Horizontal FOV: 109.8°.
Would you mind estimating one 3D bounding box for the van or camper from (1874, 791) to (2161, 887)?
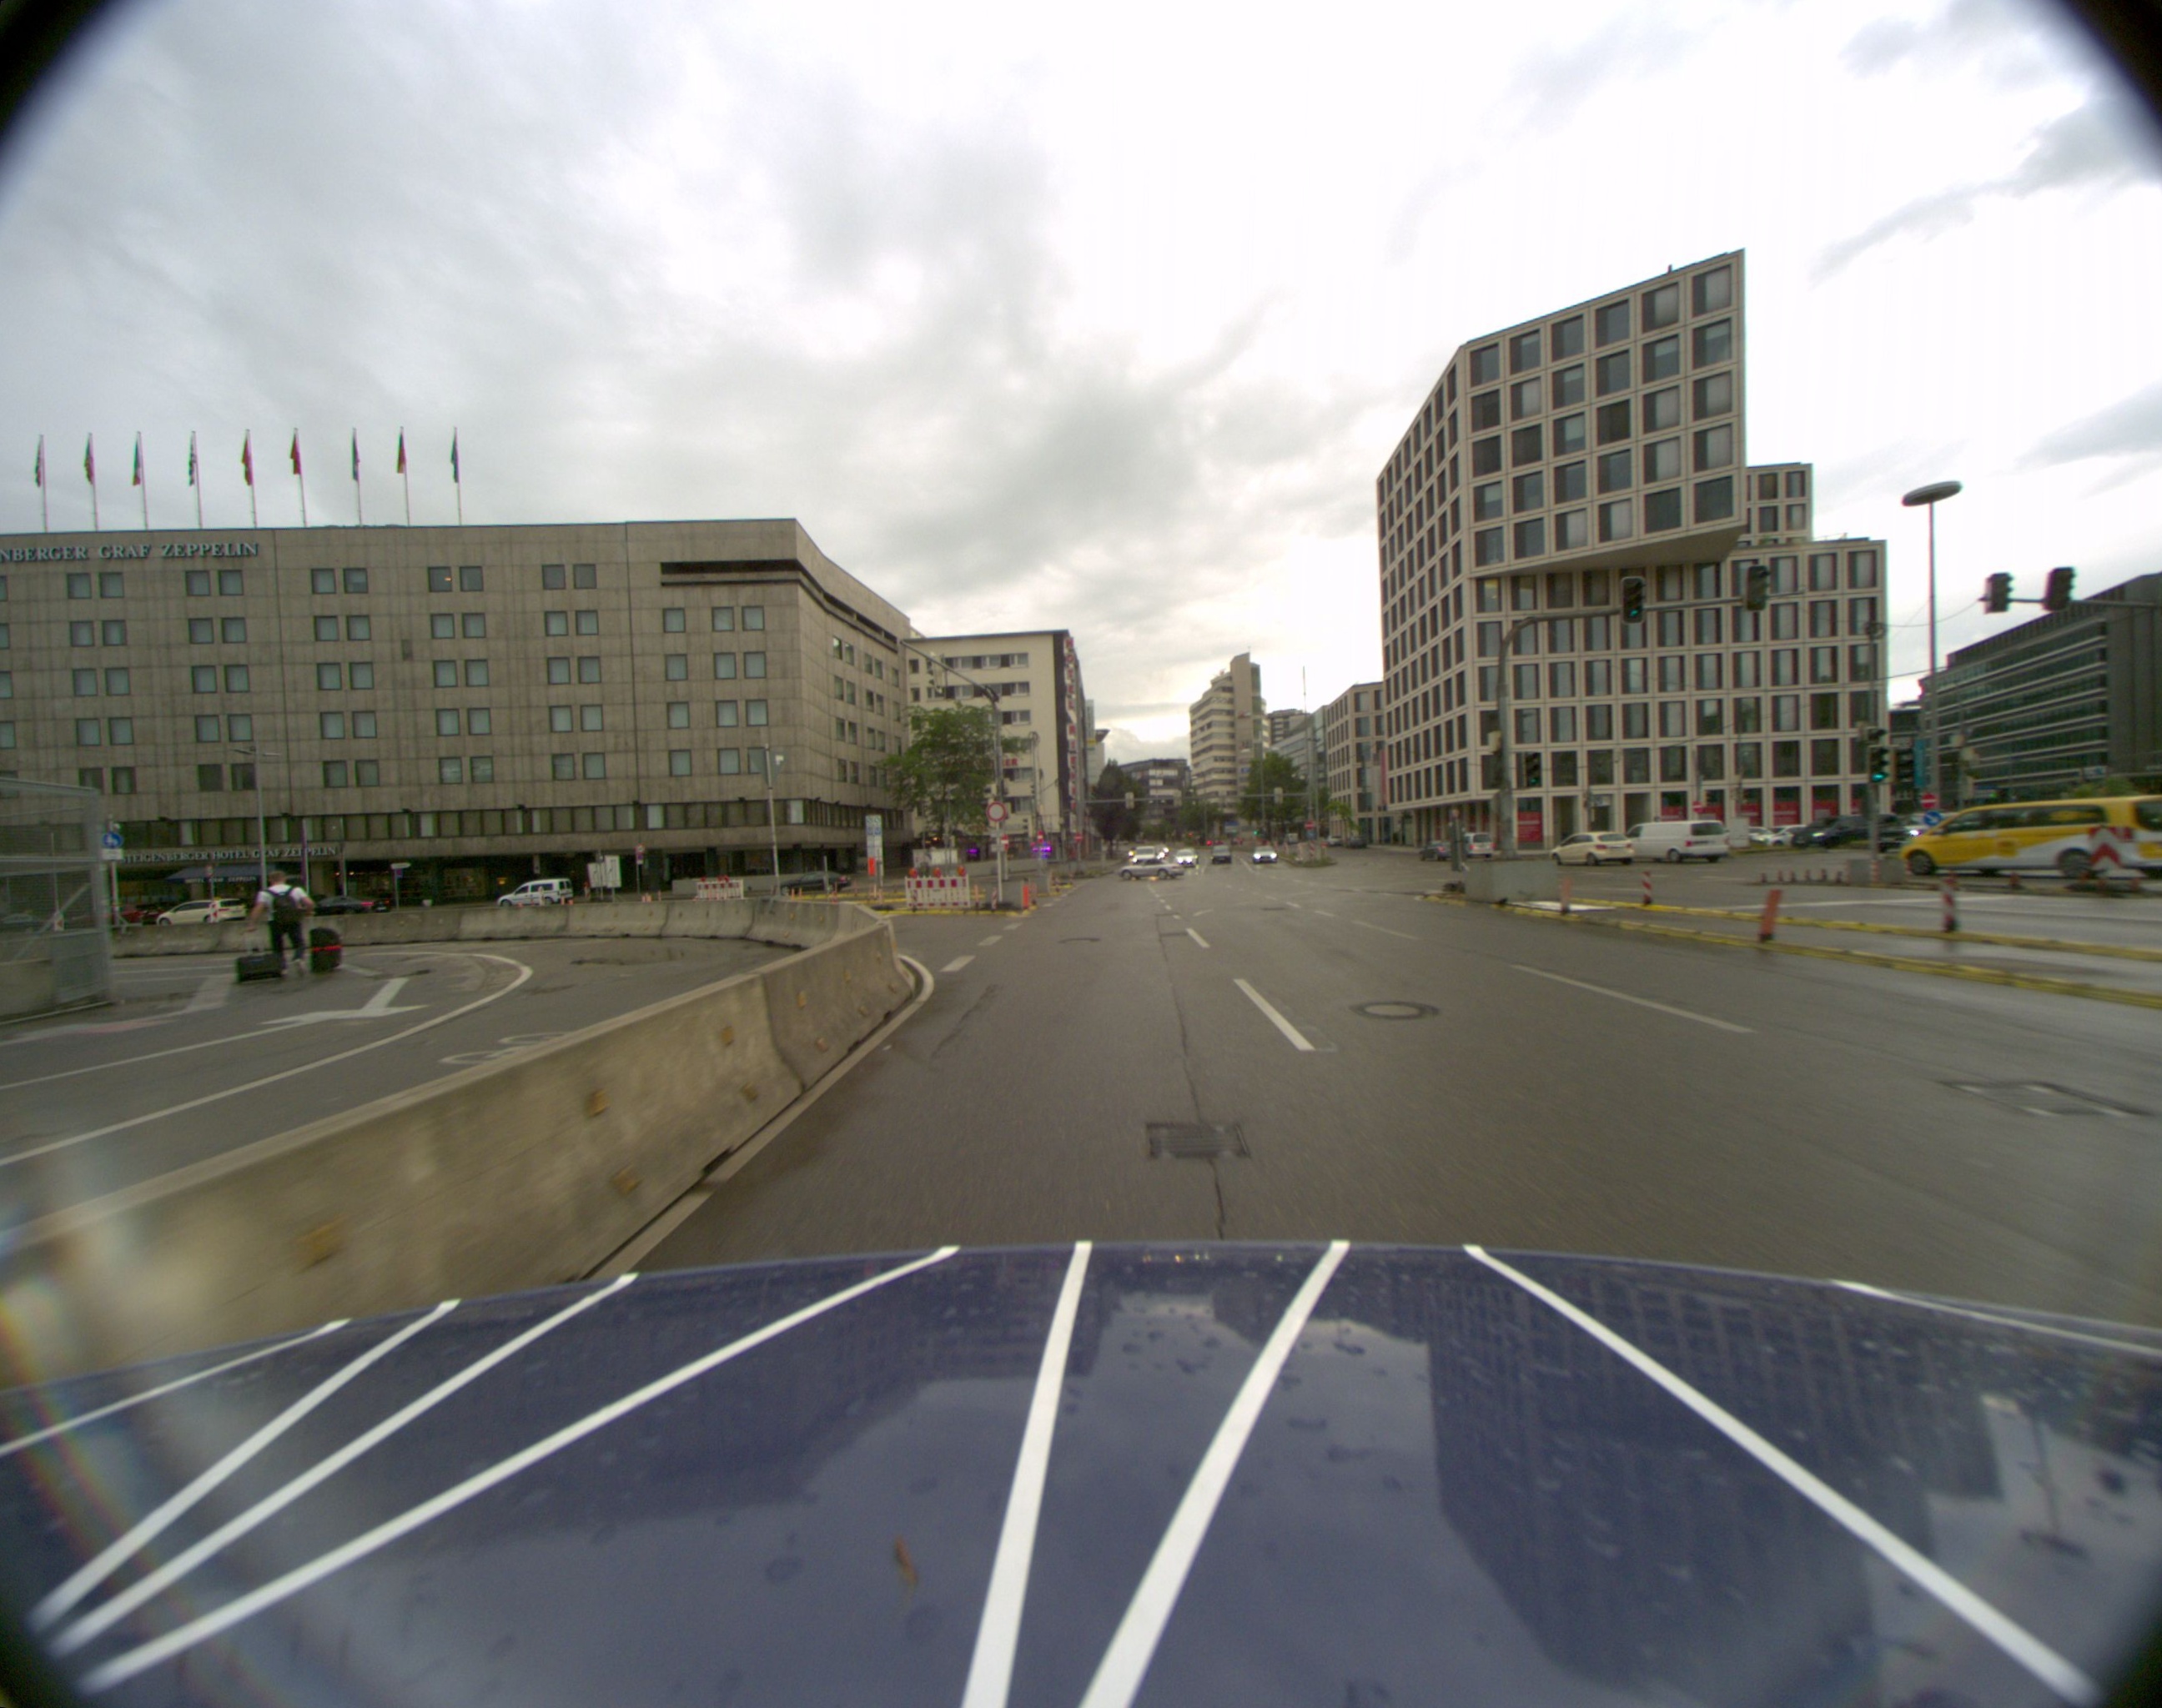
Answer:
[{"bbox_3d":[24.101,-0.390,19.321,2.244,2.042,5.609,-3,0,4],"label":"van or camper"}]

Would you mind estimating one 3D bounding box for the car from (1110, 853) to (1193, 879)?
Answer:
[{"bbox_3d":[4.099,0.724,44.476,4.518,1.302,1.645,-3,1,33],"label":"car"}]

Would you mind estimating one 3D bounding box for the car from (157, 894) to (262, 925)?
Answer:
[{"bbox_3d":[-57.296,3.619,50.011,4.575,1.688,1.821,-3,1,-1],"label":"car"}]

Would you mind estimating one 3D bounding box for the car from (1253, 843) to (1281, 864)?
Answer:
[{"bbox_3d":[15.500,-0.104,63.473,2.015,1.589,4.667,-3,0,11],"label":"car"}]

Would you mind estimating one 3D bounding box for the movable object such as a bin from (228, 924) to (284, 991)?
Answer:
[{"bbox_3d":[-13.493,1.678,12.430,0.552,1.010,0.520,-2,1,37],"label":"movable object such as a bin"}]

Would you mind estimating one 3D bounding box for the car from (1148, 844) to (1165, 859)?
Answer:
[{"bbox_3d":[8.270,-0.274,83.195,1.670,1.475,3.487,-3,0,6],"label":"car"}]

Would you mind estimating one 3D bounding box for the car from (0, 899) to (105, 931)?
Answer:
[{"bbox_3d":[-68.043,4.008,50.116,4.613,1.650,1.908,-3,1,-1],"label":"car"}]

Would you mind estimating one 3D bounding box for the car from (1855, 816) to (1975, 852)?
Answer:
[{"bbox_3d":[39.594,-0.937,36.127,3.999,1.477,1.835,-3,1,-6],"label":"car"}]

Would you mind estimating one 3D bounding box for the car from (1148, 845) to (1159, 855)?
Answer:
[{"bbox_3d":[11.488,-0.653,119.769,1.670,1.475,3.487,-3,0,6],"label":"car"}]

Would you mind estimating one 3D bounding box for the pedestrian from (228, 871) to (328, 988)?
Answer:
[{"bbox_3d":[-13.707,1.253,12.978,0.776,1.854,1.004,-2,1,37],"label":"pedestrian"}]

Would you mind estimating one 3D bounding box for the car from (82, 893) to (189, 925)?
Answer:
[{"bbox_3d":[-62.368,3.592,50.180,4.643,1.757,1.908,-3,1,1],"label":"car"}]

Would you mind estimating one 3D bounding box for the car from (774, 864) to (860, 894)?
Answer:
[{"bbox_3d":[-16.524,1.538,47.704,4.661,1.589,2.017,-3,1,-3],"label":"car"}]

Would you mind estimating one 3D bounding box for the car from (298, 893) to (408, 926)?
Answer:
[{"bbox_3d":[-43.155,3.280,45.111,4.659,1.589,2.018,-3,1,3],"label":"car"}]

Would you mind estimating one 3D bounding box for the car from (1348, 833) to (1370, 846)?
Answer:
[{"bbox_3d":[34.312,-1.806,93.893,1.864,1.514,4.003,-2,0,11],"label":"car"}]

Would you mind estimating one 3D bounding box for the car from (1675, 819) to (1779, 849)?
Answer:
[{"bbox_3d":[42.097,-1.288,49.634,4.808,1.743,2.229,-3,0,1],"label":"car"}]

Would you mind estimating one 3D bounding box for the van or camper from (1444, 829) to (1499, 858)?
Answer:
[{"bbox_3d":[28.722,-0.735,56.043,1.850,1.967,4.256,-3,0,1],"label":"van or camper"}]

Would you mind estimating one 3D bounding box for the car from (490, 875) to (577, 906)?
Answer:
[{"bbox_3d":[-36.369,2.386,50.561,4.369,1.752,1.779,-3,1,-1],"label":"car"}]

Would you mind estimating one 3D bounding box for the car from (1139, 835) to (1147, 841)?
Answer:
[{"bbox_3d":[20.756,-5.328,253.491,1.851,1.589,4.178,-3,0,-8],"label":"car"}]

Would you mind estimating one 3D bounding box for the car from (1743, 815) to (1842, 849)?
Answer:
[{"bbox_3d":[42.858,-1.301,45.827,3.994,1.805,1.807,-3,1,9],"label":"car"}]

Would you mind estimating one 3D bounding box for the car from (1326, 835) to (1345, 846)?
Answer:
[{"bbox_3d":[35.382,-1.882,105.722,1.865,1.514,4.003,-2,0,9],"label":"car"}]

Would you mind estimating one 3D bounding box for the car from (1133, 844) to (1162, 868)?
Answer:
[{"bbox_3d":[5.745,0.135,65.161,2.084,1.893,5.088,-3,0,9],"label":"car"}]

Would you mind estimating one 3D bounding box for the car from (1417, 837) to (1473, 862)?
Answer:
[{"bbox_3d":[25.058,-0.305,52.505,1.850,1.589,4.181,-3,0,1],"label":"car"}]

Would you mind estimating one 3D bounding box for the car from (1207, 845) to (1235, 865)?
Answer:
[{"bbox_3d":[12.360,0.054,67.379,2.016,1.589,4.665,-3,0,6],"label":"car"}]

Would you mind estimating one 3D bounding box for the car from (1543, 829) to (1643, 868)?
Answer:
[{"bbox_3d":[24.697,-0.260,36.869,1.846,1.664,4.380,-3,0,0],"label":"car"}]

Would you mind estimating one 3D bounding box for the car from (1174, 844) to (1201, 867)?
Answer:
[{"bbox_3d":[8.881,0.115,63.705,2.016,1.728,4.665,-3,0,6],"label":"car"}]

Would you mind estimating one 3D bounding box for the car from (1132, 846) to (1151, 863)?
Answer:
[{"bbox_3d":[7.652,0.032,96.323,1.921,2.002,4.003,-2,0,10],"label":"car"}]

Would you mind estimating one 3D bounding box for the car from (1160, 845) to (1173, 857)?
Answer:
[{"bbox_3d":[11.403,-0.437,101.691,1.670,1.475,3.487,-3,0,6],"label":"car"}]

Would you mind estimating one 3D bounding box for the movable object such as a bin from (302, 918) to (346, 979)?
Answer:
[{"bbox_3d":[-13.402,1.661,13.460,0.521,1.010,0.433,-2,1,37],"label":"movable object such as a bin"}]

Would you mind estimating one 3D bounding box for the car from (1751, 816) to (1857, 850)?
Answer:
[{"bbox_3d":[40.965,-1.170,43.180,3.990,1.718,1.741,-2,0,28],"label":"car"}]

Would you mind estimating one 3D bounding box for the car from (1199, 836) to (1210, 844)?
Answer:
[{"bbox_3d":[27.106,-2.992,166.928,1.850,1.589,4.181,-3,0,1],"label":"car"}]

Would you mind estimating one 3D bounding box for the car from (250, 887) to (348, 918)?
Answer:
[{"bbox_3d":[-51.686,3.207,50.269,4.510,1.718,1.822,-3,1,1],"label":"car"}]

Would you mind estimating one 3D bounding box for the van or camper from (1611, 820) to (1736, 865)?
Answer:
[{"bbox_3d":[27.886,-0.542,36.039,1.886,1.883,5.212,-3,0,1],"label":"van or camper"}]
